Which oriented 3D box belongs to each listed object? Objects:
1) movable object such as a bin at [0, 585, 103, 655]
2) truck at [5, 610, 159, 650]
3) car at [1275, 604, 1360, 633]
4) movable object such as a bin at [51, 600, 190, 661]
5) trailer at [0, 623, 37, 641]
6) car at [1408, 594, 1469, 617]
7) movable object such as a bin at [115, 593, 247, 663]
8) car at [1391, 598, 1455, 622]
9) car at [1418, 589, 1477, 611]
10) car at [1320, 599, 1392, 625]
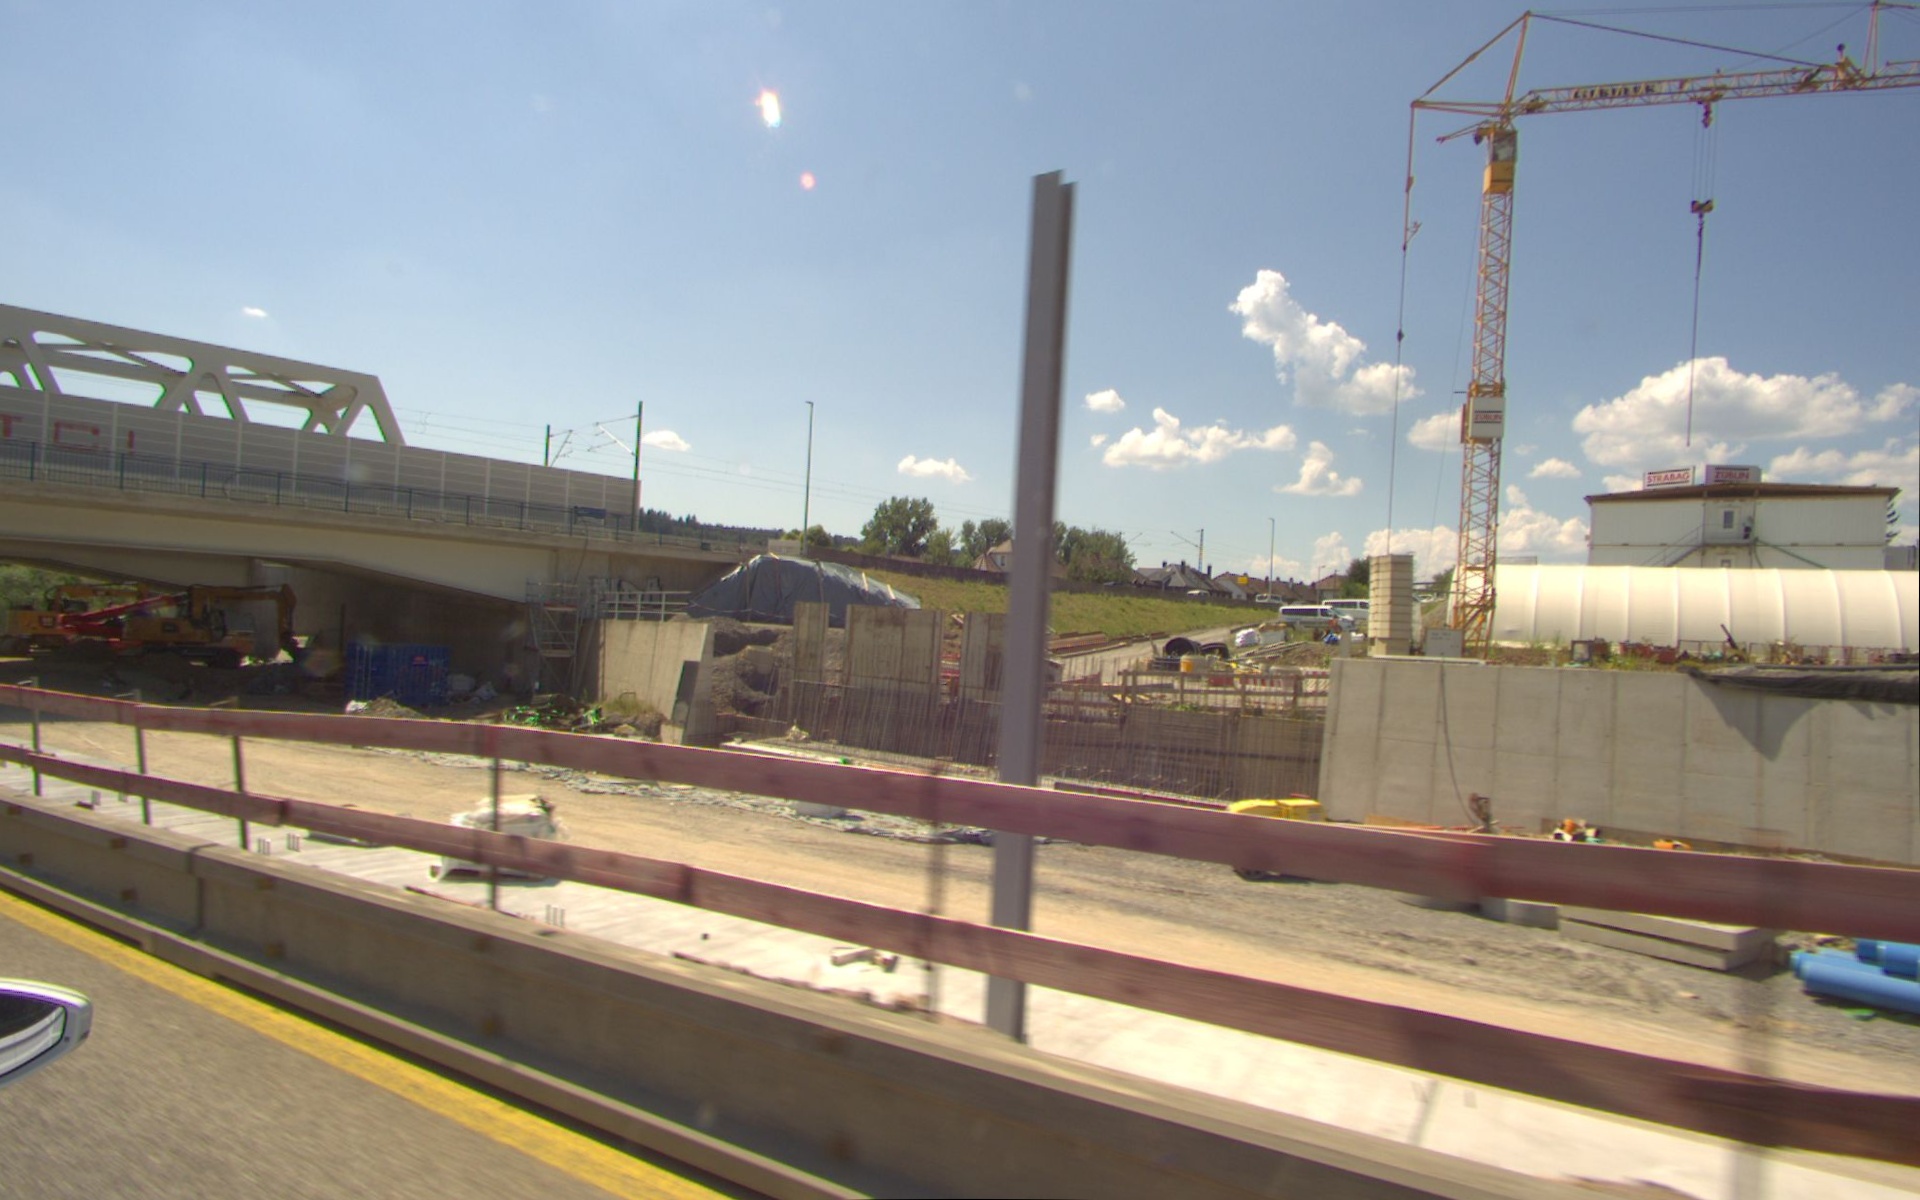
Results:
[{"bbox_3d":[-49.880,1.176,54.998,2.872,3.586,3.863,-2,-4,43],"label":"movable object such as a bin"},{"bbox_3d":[-52.717,1.844,60.302,2.629,2.099,6.508,1,-3,35],"label":"truck"},{"bbox_3d":[25.747,1.337,72.209,5.499,1.984,1.988,-1,-2,36],"label":"car"},{"bbox_3d":[-45.512,1.734,54.409,2.464,3.094,5.228,-1,-4,36],"label":"movable object such as a bin"},{"bbox_3d":[-68.198,2.227,70.215,2.026,1.235,4.707,-1,-3,32],"label":"trailer"},{"bbox_3d":[45.233,0.524,94.674,4.921,1.984,1.988,-1,-2,36],"label":"car"},{"bbox_3d":[-39.390,1.495,50.696,2.951,3.327,4.543,-1,-4,36],"label":"movable object such as a bin"},{"bbox_3d":[41.455,0.937,89.642,4.921,1.984,1.988,-1,-2,36],"label":"car"},{"bbox_3d":[47.344,0.055,97.356,4.921,1.984,1.988,-1,-2,36],"label":"car"},{"bbox_3d":[31.205,0.988,78.984,4.921,1.984,1.988,-1,-2,36],"label":"car"}]
